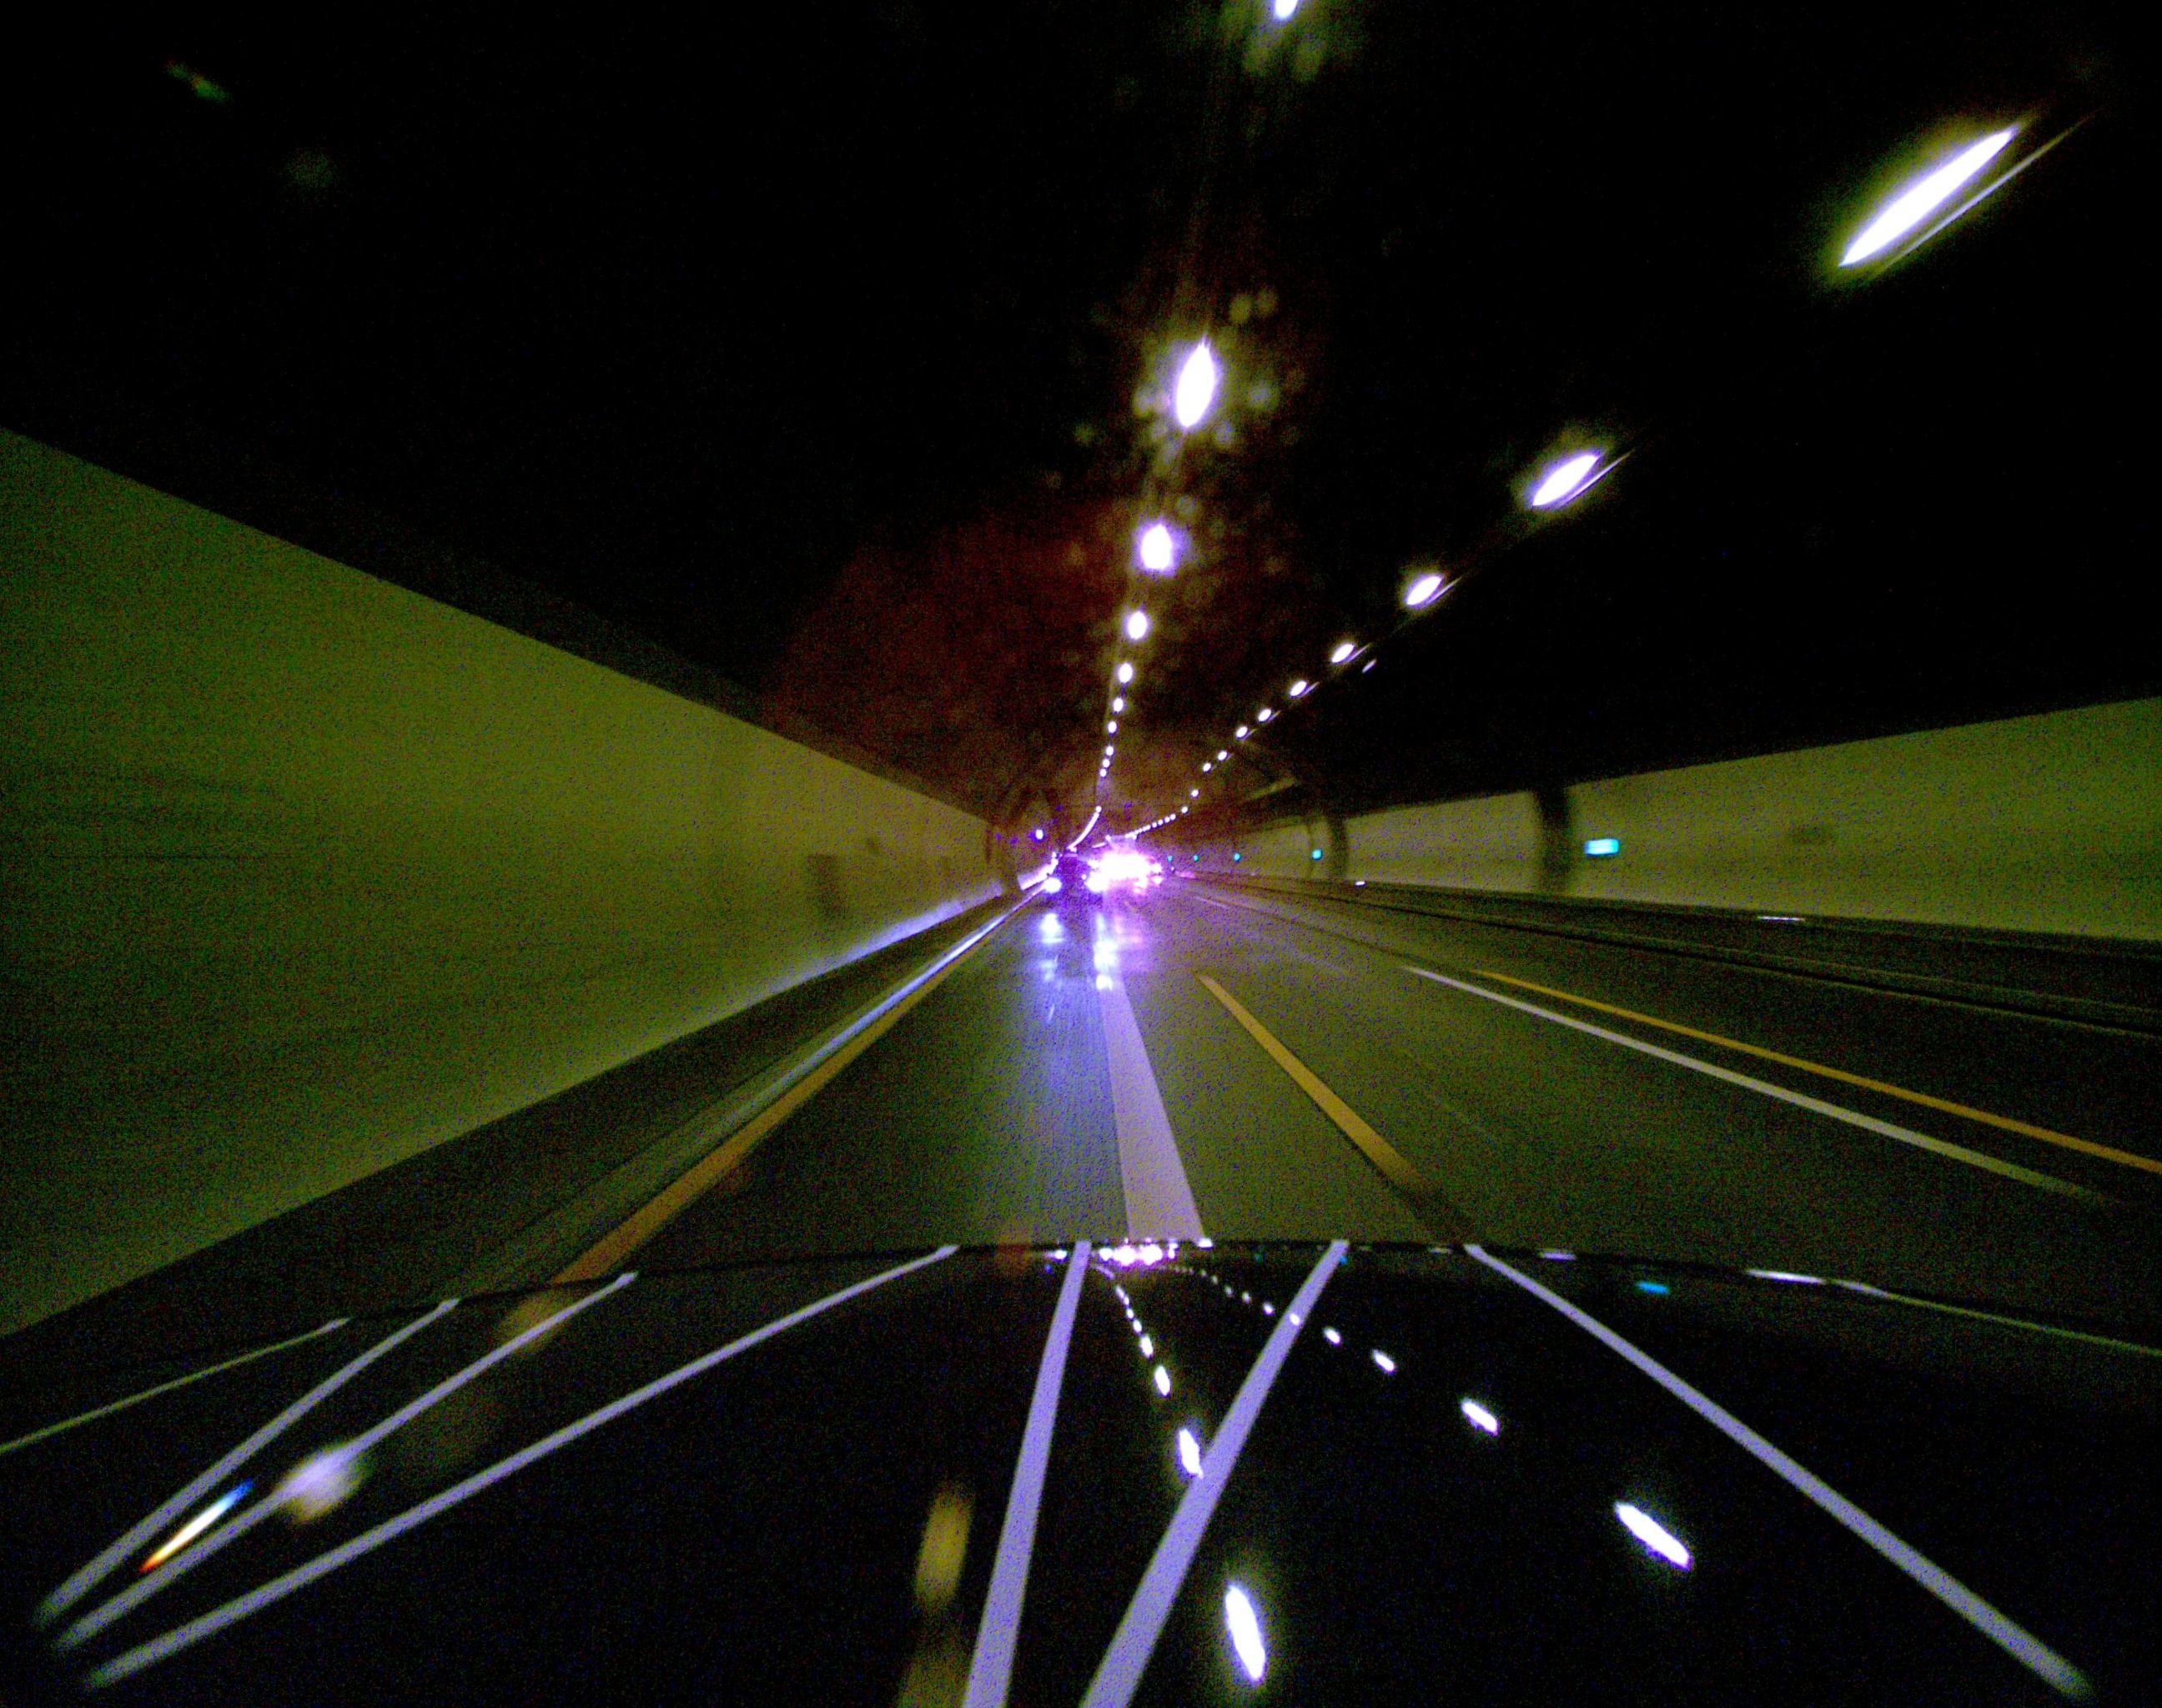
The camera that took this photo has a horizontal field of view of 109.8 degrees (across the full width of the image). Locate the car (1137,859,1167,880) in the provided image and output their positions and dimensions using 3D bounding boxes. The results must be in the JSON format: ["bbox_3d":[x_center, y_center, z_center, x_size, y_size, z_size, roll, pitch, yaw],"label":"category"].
[{"bbox_3d":[5.876,1.233,63.562,1.998,1.531,4.851,-3,1,1],"label":"car"}]

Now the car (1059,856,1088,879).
[{"bbox_3d":[-0.617,0.976,57.734,1.999,1.531,4.741,-3,1,-3],"label":"car"}]

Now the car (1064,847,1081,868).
[{"bbox_3d":[-1.208,0.445,107.909,1.999,2.710,6.272,-3,1,-3],"label":"car"}]

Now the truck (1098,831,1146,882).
[{"bbox_3d":[2.852,0.196,55.317,2.534,3.314,7.714,-3,0,-3],"label":"truck"}]

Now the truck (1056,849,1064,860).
[{"bbox_3d":[-7.227,0.202,265.304,2.208,3.449,11.765,-2,0,1],"label":"truck"}]

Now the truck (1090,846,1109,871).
[{"bbox_3d":[2.338,0.544,97.951,2.162,3.098,6.029,-3,1,0],"label":"truck"}]

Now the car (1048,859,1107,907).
[{"bbox_3d":[-0.202,0.954,27.075,1.826,1.469,4.520,-3,0,-3],"label":"car"}]

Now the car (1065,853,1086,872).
[{"bbox_3d":[-0.675,0.956,85.907,1.999,2.002,4.852,-3,0,-4],"label":"car"}]
